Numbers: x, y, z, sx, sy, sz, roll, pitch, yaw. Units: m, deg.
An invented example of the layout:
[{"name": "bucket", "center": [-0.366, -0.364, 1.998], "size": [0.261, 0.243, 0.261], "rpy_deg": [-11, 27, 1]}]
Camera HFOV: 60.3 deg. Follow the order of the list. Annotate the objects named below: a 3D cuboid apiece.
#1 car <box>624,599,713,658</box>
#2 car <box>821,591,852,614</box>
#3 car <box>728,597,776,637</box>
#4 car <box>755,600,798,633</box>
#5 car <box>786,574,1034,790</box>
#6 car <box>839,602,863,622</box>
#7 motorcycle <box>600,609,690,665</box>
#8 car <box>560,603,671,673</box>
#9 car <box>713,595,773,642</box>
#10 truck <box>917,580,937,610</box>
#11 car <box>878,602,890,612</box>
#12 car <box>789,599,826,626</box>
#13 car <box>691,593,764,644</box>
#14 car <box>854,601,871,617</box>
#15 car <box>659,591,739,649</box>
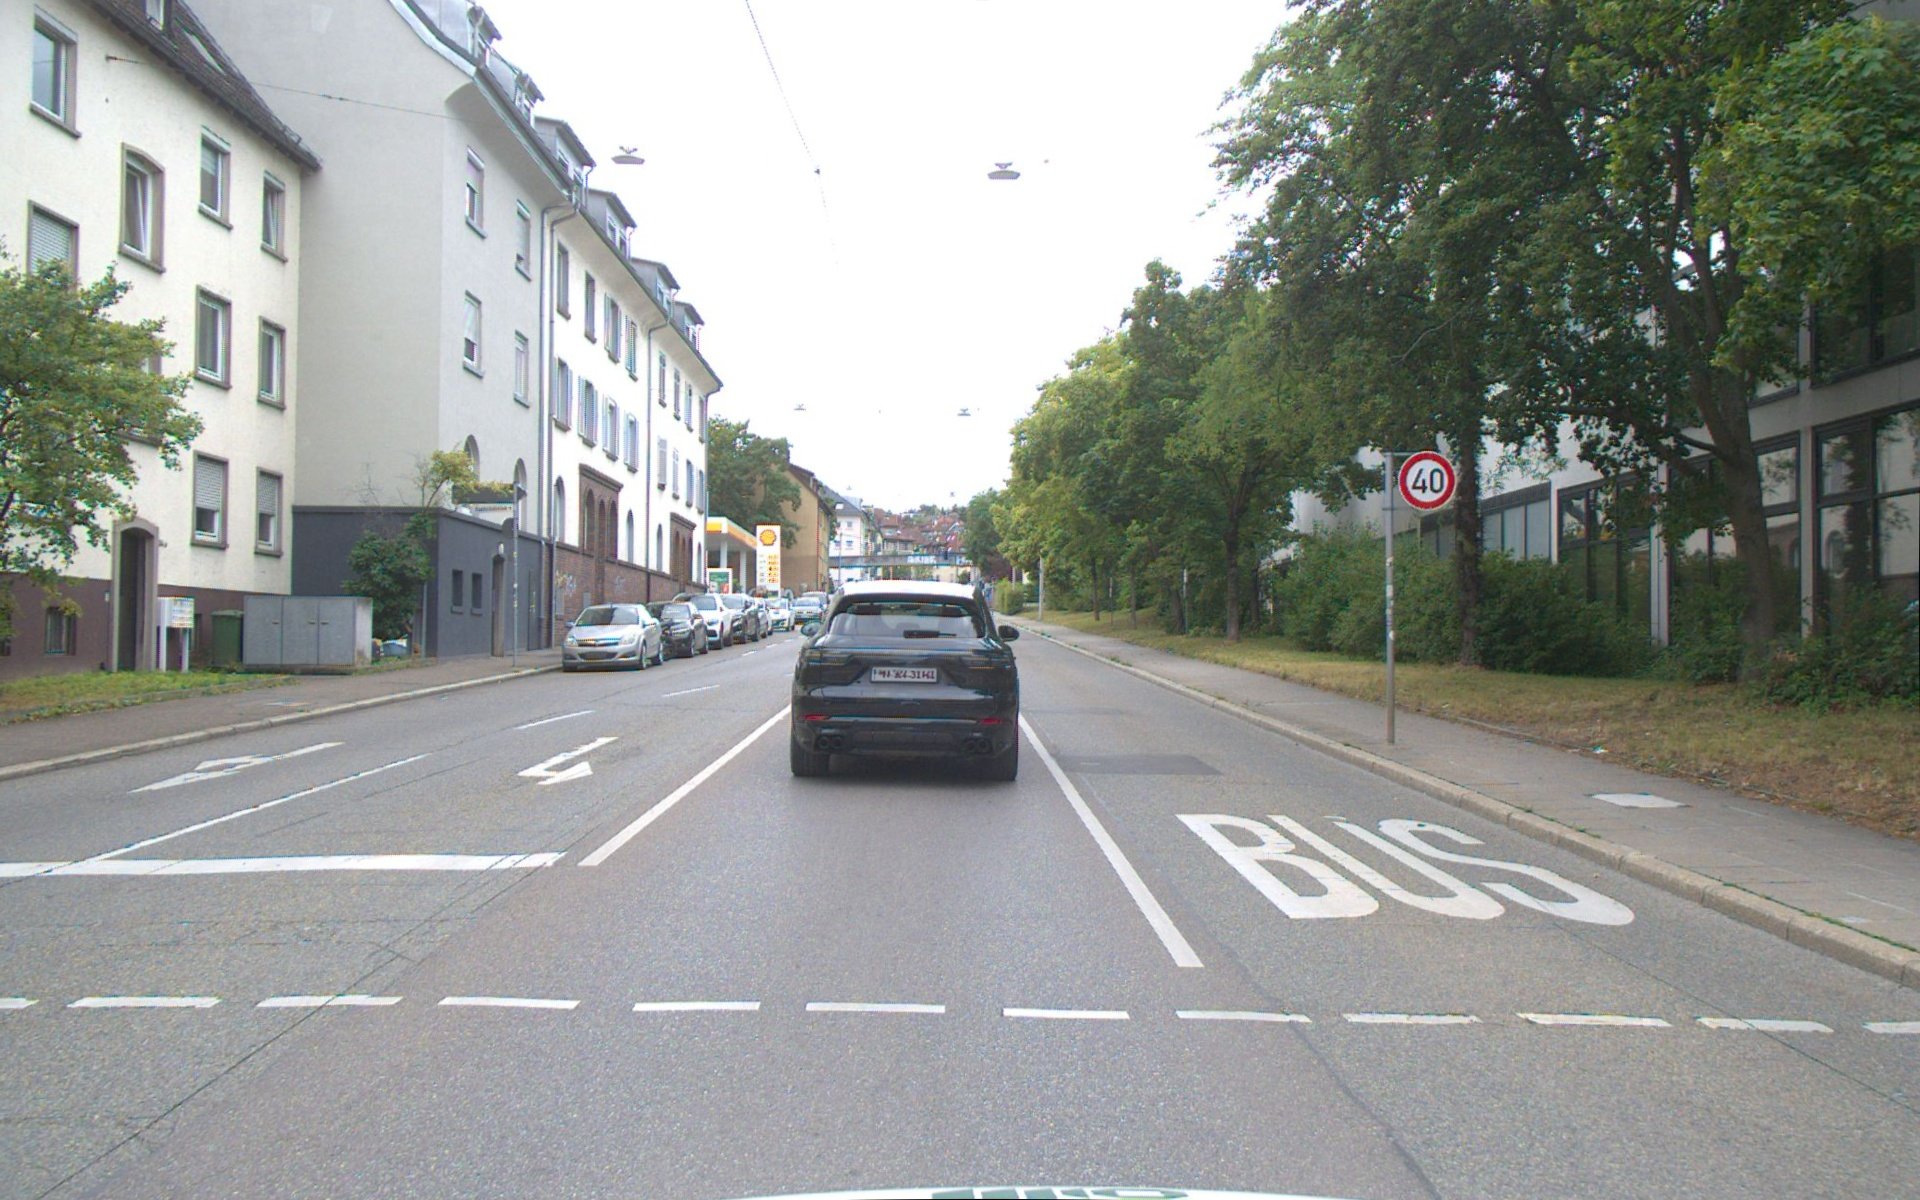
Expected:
[{"name": "car", "center": [-7.623, 0.713, 43.554], "size": [1.692, 1.454, 4.190], "rpy_deg": [0, 0, -1]}, {"name": "car", "center": [-8.873, 0.164, 118.900], "size": [1.876, 1.605, 4.699], "rpy_deg": [0, 0, 0]}, {"name": "car", "center": [-8.175, 0.653, 65.222], "size": [1.516, 1.501, 3.603], "rpy_deg": [0, 0, -1]}, {"name": "car", "center": [-8.249, 0.729, 74.586], "size": [1.586, 1.450, 3.664], "rpy_deg": [0, 0, -1]}, {"name": "car", "center": [-0.419, 0.636, 15.211], "size": [1.953, 1.691, 4.000], "rpy_deg": [1, 0, -1]}, {"name": "car", "center": [-9.261, 0.999, 140.677], "size": [1.746, 1.637, 4.264], "rpy_deg": [-2, 0, 0]}, {"name": "motorcycle", "center": [-7.597, 0.878, 39.869], "size": [2.009, 1.257, 0.803], "rpy_deg": [-2, 1, -19]}, {"name": "car", "center": [-7.467, 0.780, 36.204], "size": [1.692, 1.398, 4.335], "rpy_deg": [0, 0, -2]}, {"name": "car", "center": [-7.886, 0.667, 60.295], "size": [1.692, 1.585, 4.080], "rpy_deg": [-2, 0, -2]}, {"name": "truck", "center": [-3.826, -0.530, 192.893], "size": [2.221, 3.484, 9.875], "rpy_deg": [0, 0, -1]}, {"name": "car", "center": [-11.394, 1.020, 248.601], "size": [1.729, 1.534, 3.999], "rpy_deg": [0, 0, 0]}, {"name": "car", "center": [-8.517, 0.697, 92.641], "size": [1.754, 1.475, 4.217], "rpy_deg": [-1, 0, -1]}, {"name": "car", "center": [-7.705, 0.591, 55.115], "size": [1.691, 1.627, 4.502], "rpy_deg": [0, 0, 1]}, {"name": "car", "center": [-10.032, 0.965, 170.974], "size": [1.711, 1.596, 3.906], "rpy_deg": [-1, 0, -3]}, {"name": "car", "center": [-7.804, 0.565, 49.803], "size": [1.808, 1.649, 4.642], "rpy_deg": [0, 0, -2]}]
